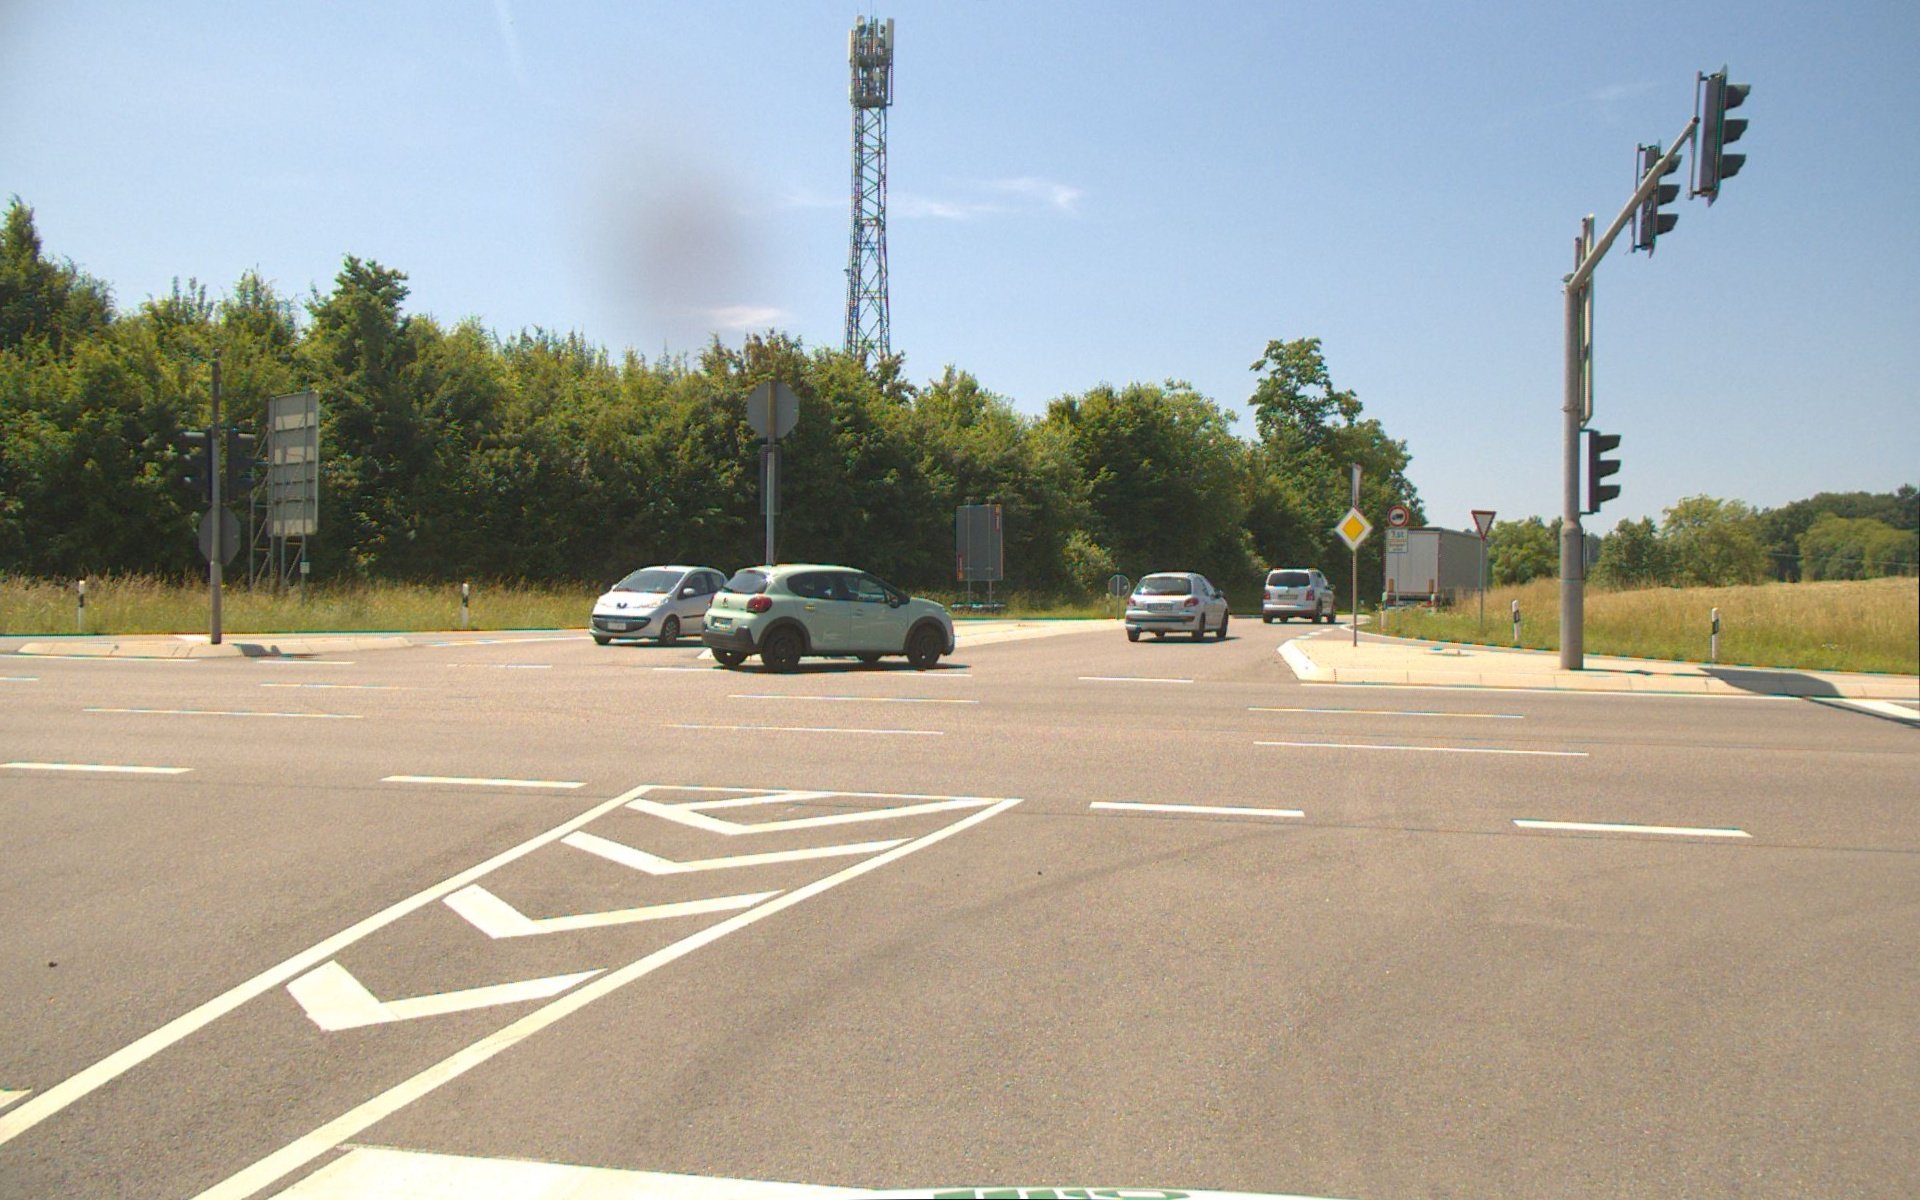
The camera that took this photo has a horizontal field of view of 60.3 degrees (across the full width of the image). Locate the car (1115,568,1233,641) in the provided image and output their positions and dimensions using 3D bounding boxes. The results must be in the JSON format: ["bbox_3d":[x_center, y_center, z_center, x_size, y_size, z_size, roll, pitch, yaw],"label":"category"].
[{"bbox_3d":[4.695,0.049,35.878,1.775,1.437,3.785,1,2,20],"label":"car"}]

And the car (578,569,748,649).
[{"bbox_3d":[-5.568,0.119,31.384,1.533,1.394,3.531,1,2,22],"label":"car"}]

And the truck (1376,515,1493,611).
[{"bbox_3d":[23.575,-1.694,81.323,3.063,4.245,16.677,1,1,24],"label":"truck"}]

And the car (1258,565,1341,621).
[{"bbox_3d":[10.663,-0.245,51.799,1.776,1.653,4.059,0,2,23],"label":"car"}]

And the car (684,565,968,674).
[{"bbox_3d":[-1.962,0.227,24.699,3.943,1.428,1.713,-1,3,-36],"label":"car"}]
